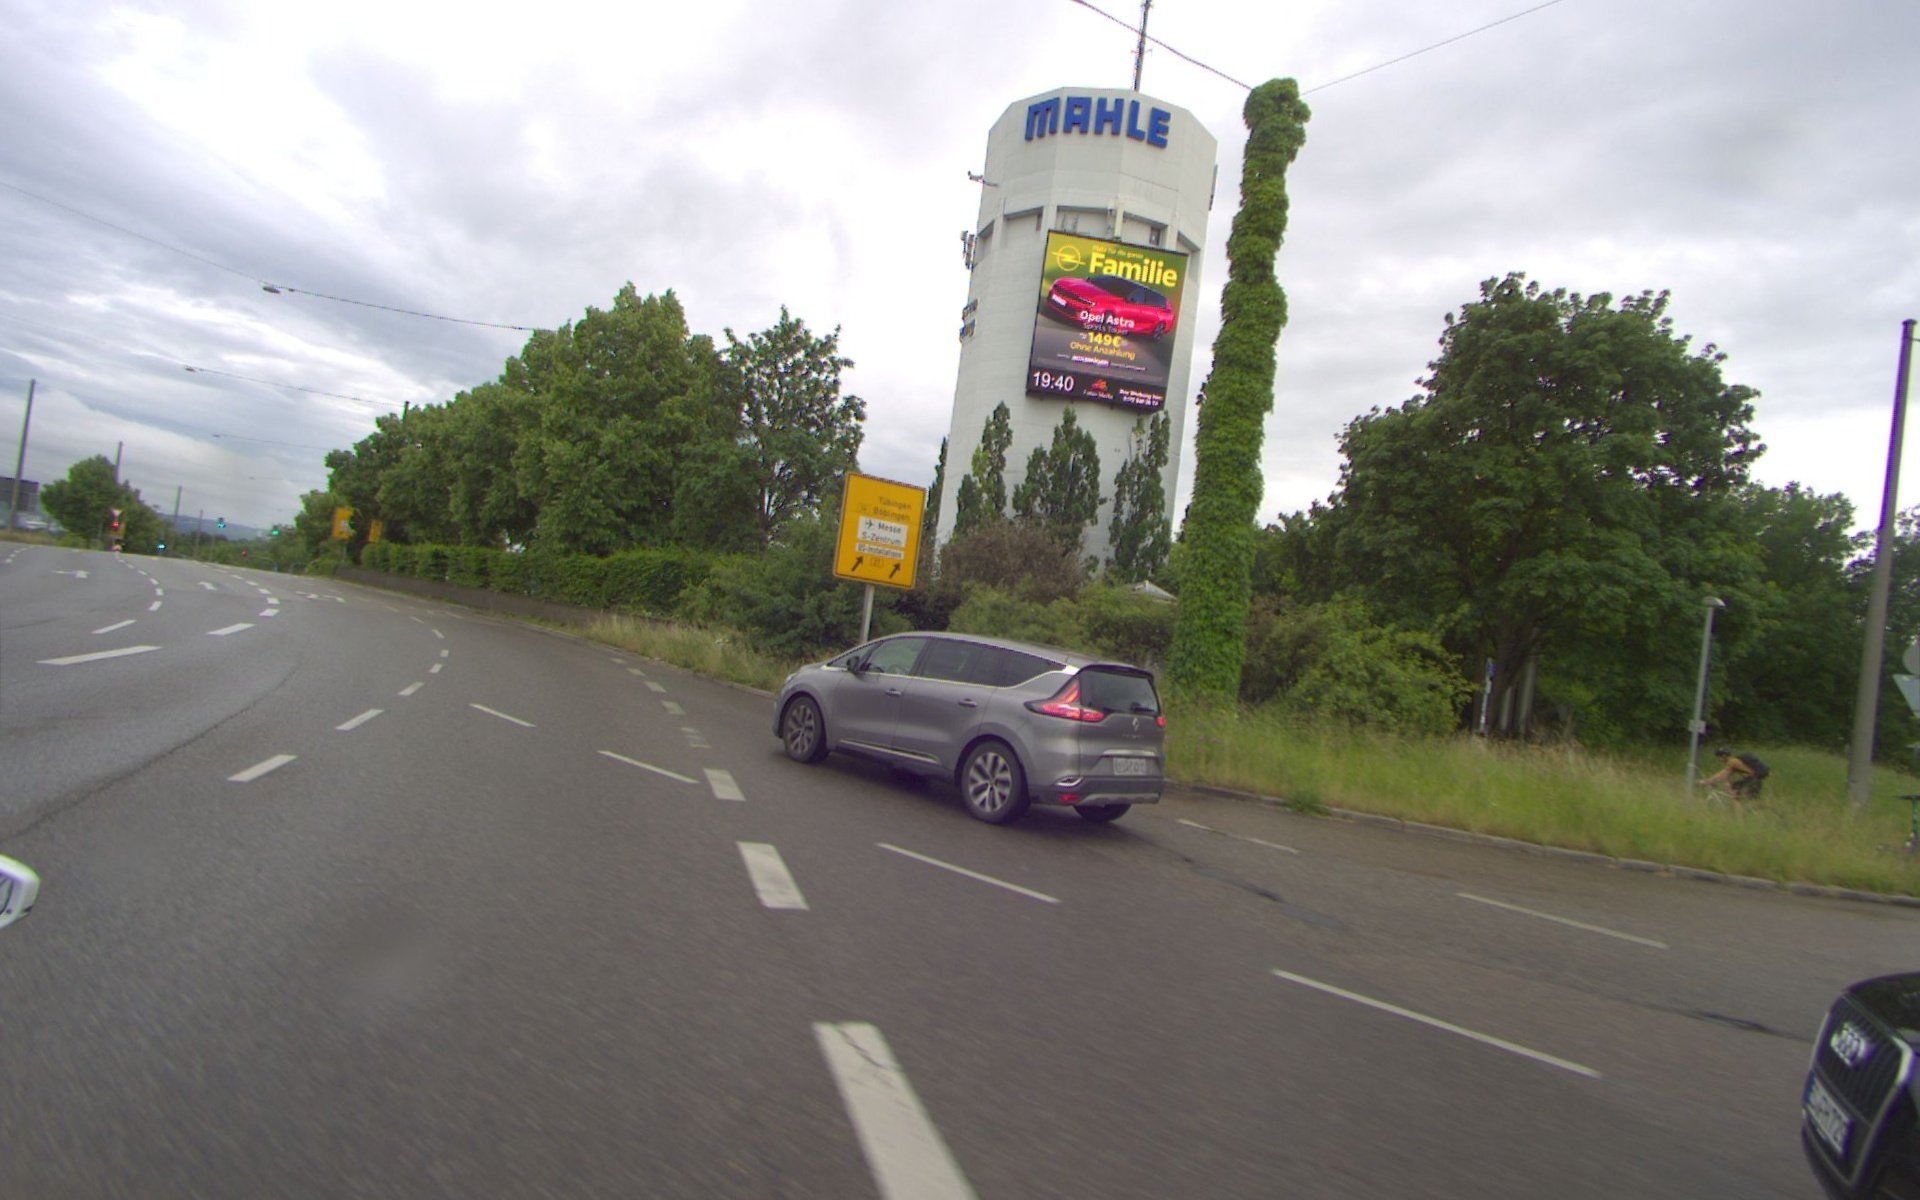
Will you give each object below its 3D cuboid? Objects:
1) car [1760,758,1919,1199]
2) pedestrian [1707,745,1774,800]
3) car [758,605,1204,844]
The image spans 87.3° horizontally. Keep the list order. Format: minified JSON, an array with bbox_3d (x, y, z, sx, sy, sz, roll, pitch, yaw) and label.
[{"bbox_3d":[4.388,1.474,1.986,4.058,1.552,1.728,6,-1,31],"label":"car"},{"bbox_3d":[14.263,3.142,18.403,0.841,0.835,0.590,6,-2,32],"label":"pedestrian"},{"bbox_3d":[0.003,1.161,10.519,4.566,1.666,1.723,5,-4,45],"label":"car"}]
